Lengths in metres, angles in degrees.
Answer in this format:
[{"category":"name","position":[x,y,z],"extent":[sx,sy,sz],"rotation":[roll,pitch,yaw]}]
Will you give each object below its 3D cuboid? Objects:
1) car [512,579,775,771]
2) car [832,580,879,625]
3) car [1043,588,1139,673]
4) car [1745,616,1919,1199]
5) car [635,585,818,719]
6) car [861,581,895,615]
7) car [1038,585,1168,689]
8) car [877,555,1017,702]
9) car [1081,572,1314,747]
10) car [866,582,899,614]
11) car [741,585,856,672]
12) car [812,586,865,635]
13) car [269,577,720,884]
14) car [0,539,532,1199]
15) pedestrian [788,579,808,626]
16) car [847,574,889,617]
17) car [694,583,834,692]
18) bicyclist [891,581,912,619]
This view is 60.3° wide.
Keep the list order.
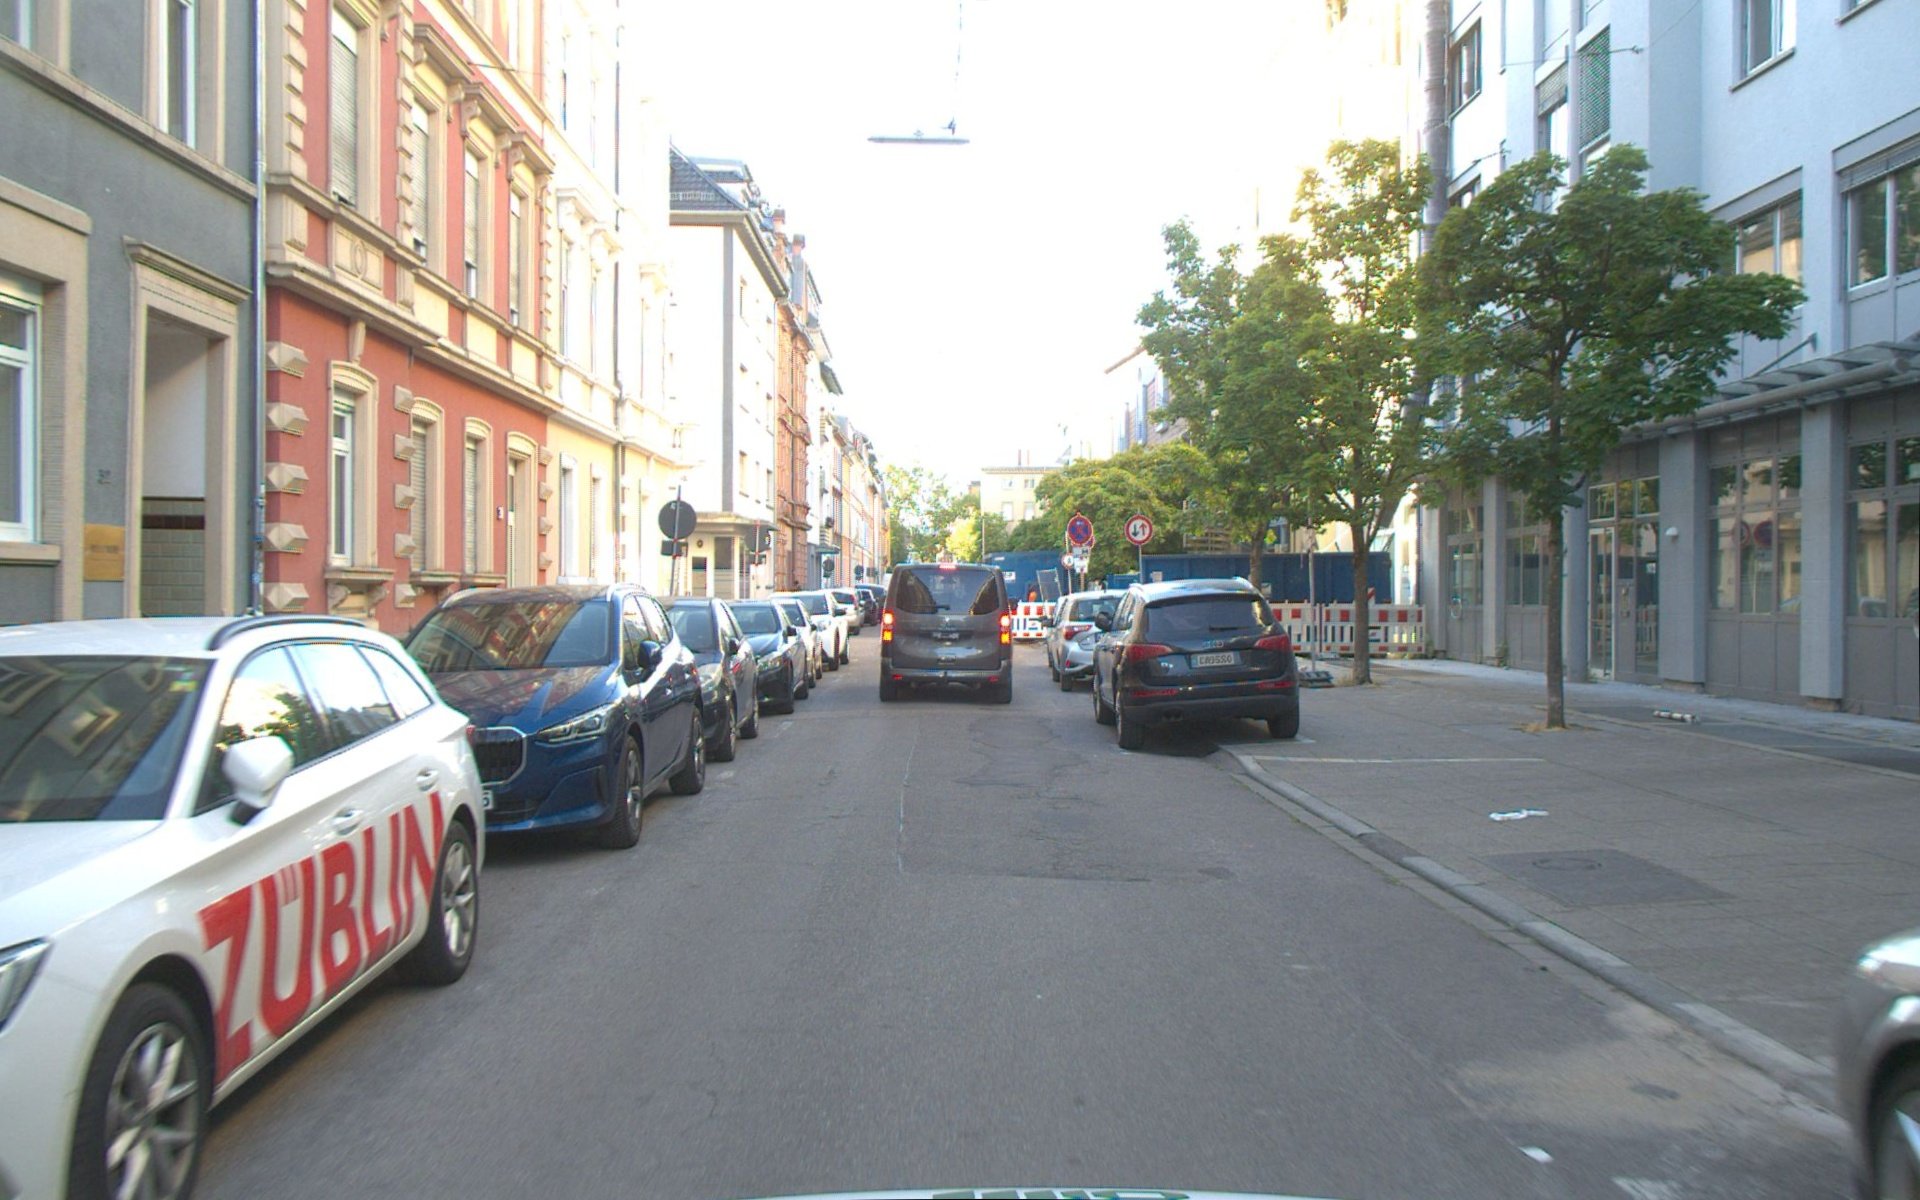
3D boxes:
[{"category":"car","position":[-2.980,0.619,16.461],"extent":[1.863,1.587,4.239],"rotation":[-2,1,-2]},{"category":"car","position":[-4.559,0.095,71.892],"extent":[1.855,1.749,3.750],"rotation":[5,-1,-4]},{"category":"car","position":[2.494,0.543,32.165],"extent":[1.641,1.501,3.730],"rotation":[-2,0,2]},{"category":"car","position":[2.872,0.768,1.980],"extent":[1.727,1.454,4.344],"rotation":[-2,0,-1]},{"category":"car","position":[-2.977,0.600,21.934],"extent":[1.882,1.509,4.266],"rotation":[-2,1,-2]},{"category":"car","position":[-5.061,-0.135,101.436],"extent":[1.855,1.878,4.345],"rotation":[5,-1,-4]},{"category":"car","position":[2.299,0.553,27.433],"extent":[1.643,1.551,3.969],"rotation":[-2,0,-2]},{"category":"car","position":[-0.235,0.382,24.014],"extent":[1.827,1.919,4.233],"rotation":[1,0,-2]},{"category":"car","position":[2.473,0.563,18.272],"extent":[1.847,1.651,4.433],"rotation":[-2,0,-1]},{"category":"car","position":[-4.993,-0.115,106.536],"extent":[1.855,1.878,4.345],"rotation":[5,-1,-4]},{"category":"car","position":[-3.116,0.507,32.757],"extent":[1.882,1.533,4.266],"rotation":[-2,1,-1]},{"category":"car","position":[-4.110,0.354,55.830],"extent":[1.624,1.485,3.415],"rotation":[5,-1,-4]},{"category":"car","position":[-2.835,0.676,11.118],"extent":[1.882,1.587,4.266],"rotation":[-2,1,-2]},{"category":"car","position":[-2.763,0.686,5.016],"extent":[1.882,1.587,4.266],"rotation":[-2,1,-2]},{"category":"pedestrian","position":[-5.839,0.088,59.565],"extent":[0.725,1.693,0.703],"rotation":[0,0,-5]},{"category":"car","position":[-4.538,-0.200,81.263],"extent":[1.855,1.878,4.345],"rotation":[5,-1,-4]},{"category":"car","position":[-3.145,0.549,27.352],"extent":[1.882,1.587,4.266],"rotation":[-2,1,-2]},{"category":"bicyclist","position":[-2.222,0.001,63.288],"extent":[0.717,1.437,0.940],"rotation":[2,0,1]}]
